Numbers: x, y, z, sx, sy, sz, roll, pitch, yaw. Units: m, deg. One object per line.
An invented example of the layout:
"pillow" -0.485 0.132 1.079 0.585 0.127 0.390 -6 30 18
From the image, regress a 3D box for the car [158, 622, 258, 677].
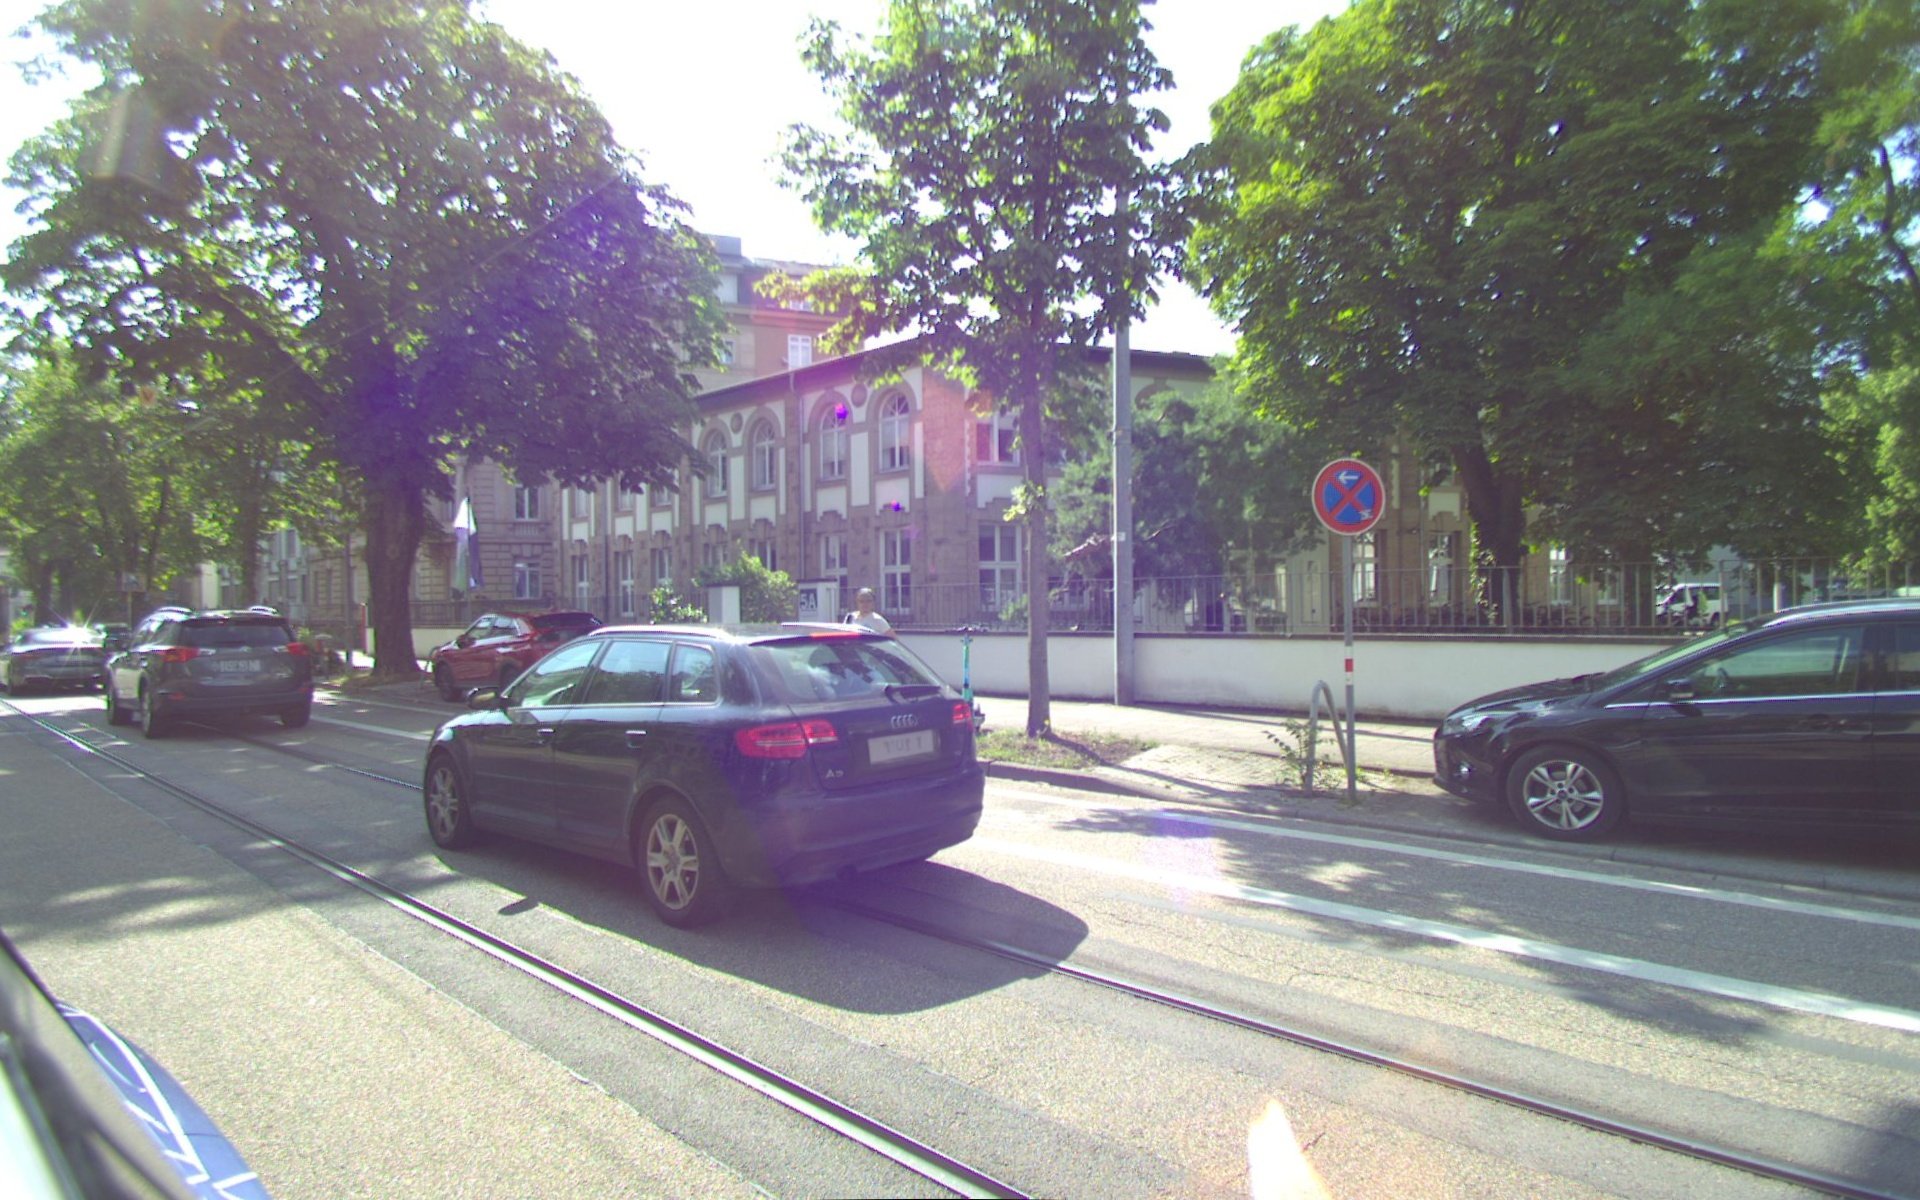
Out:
"car" -25.278 1.592 33.951 4.330 1.653 1.788 -1 1 41

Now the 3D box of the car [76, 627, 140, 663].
"car" -38.972 2.018 46.257 3.807 1.496 1.637 -1 1 41

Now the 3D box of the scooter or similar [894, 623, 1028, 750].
"scooter or similar" 0.026 0.931 11.492 0.854 1.289 1.325 -1 1 40

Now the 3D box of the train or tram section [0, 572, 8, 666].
"train or tram section" -40.693 0.743 40.422 14.104 3.381 2.624 -1 -3 42

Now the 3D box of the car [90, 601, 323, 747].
"car" -10.669 0.894 14.209 4.390 1.740 1.806 0 -1 42

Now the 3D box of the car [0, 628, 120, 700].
"car" -19.922 1.331 22.114 4.424 1.399 1.780 -2 -2 42

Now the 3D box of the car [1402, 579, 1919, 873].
"car" 5.358 0.655 6.172 4.587 1.527 1.732 -1 1 39

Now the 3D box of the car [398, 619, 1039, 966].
"car" -1.639 0.821 6.029 3.998 1.386 1.705 -1 -2 41

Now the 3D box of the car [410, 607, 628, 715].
"car" -8.089 1.007 18.338 4.718 1.678 1.732 -1 1 41

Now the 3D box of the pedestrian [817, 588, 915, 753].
"pedestrian" -1.068 0.765 11.519 0.750 1.780 0.782 -1 1 32
